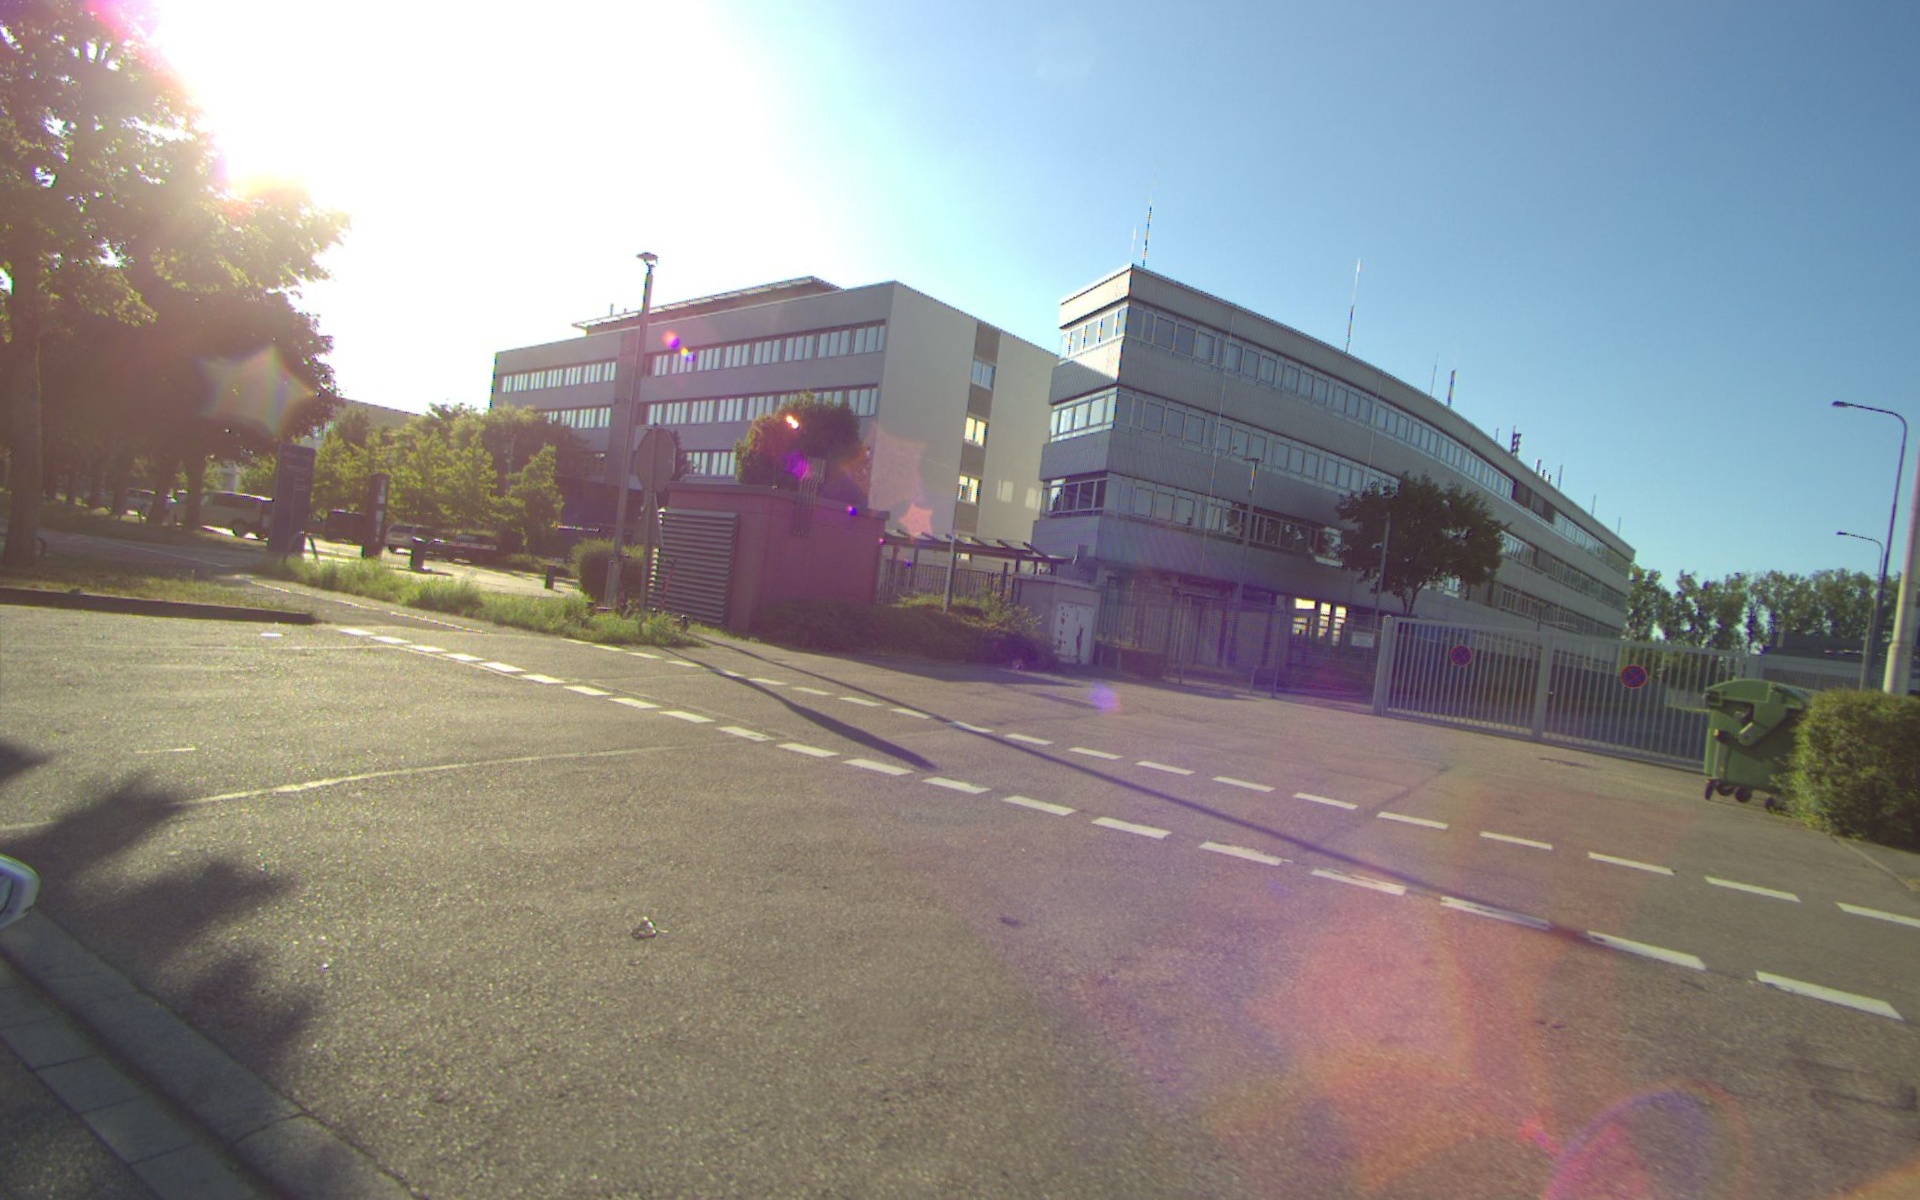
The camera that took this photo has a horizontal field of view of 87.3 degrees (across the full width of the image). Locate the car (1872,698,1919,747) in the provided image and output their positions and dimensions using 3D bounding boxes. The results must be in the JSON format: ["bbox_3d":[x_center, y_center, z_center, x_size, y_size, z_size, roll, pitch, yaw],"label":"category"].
[{"bbox_3d":[38.740,5.039,39.164,4.493,1.694,2.029,8,1,39],"label":"car"}]

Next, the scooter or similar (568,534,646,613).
[{"bbox_3d":[-6.483,-0.492,18.466,1.365,1.288,0.520,8,2,34],"label":"scooter or similar"}]

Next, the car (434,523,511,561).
[{"bbox_3d":[-23.573,-2.774,48.811,1.774,1.371,3.998,7,0,-1],"label":"car"}]

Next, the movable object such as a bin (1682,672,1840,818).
[{"bbox_3d":[9.184,1.648,11.557,0.839,1.433,1.030,8,0,-29],"label":"movable object such as a bin"}]

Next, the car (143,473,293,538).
[{"bbox_3d":[-32.688,-4.123,44.448,4.867,1.958,1.998,8,1,-4],"label":"car"}]

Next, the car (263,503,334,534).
[{"bbox_3d":[-44.195,-5.440,67.352,1.735,1.546,4.302,8,1,0],"label":"car"}]

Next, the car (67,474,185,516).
[{"bbox_3d":[-49.001,-6.140,59.195,4.873,1.594,1.995,7,1,-11],"label":"car"}]

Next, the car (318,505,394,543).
[{"bbox_3d":[-35.939,-4.487,60.013,1.735,1.772,4.492,7,1,-2],"label":"car"}]

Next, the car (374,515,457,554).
[{"bbox_3d":[-28.665,-3.404,53.115,1.773,1.548,4.312,7,0,3],"label":"car"}]

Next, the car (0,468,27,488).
[{"bbox_3d":[-96.485,-12.399,100.534,2.030,1.727,4.423,8,1,41],"label":"car"}]

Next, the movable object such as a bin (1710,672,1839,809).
[{"bbox_3d":[10.355,1.751,12.847,1.021,1.502,1.210,8,1,35],"label":"movable object such as a bin"}]

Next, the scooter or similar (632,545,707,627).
[{"bbox_3d":[-5.174,-0.247,17.890,1.181,1.288,0.520,9,2,34],"label":"scooter or similar"}]
